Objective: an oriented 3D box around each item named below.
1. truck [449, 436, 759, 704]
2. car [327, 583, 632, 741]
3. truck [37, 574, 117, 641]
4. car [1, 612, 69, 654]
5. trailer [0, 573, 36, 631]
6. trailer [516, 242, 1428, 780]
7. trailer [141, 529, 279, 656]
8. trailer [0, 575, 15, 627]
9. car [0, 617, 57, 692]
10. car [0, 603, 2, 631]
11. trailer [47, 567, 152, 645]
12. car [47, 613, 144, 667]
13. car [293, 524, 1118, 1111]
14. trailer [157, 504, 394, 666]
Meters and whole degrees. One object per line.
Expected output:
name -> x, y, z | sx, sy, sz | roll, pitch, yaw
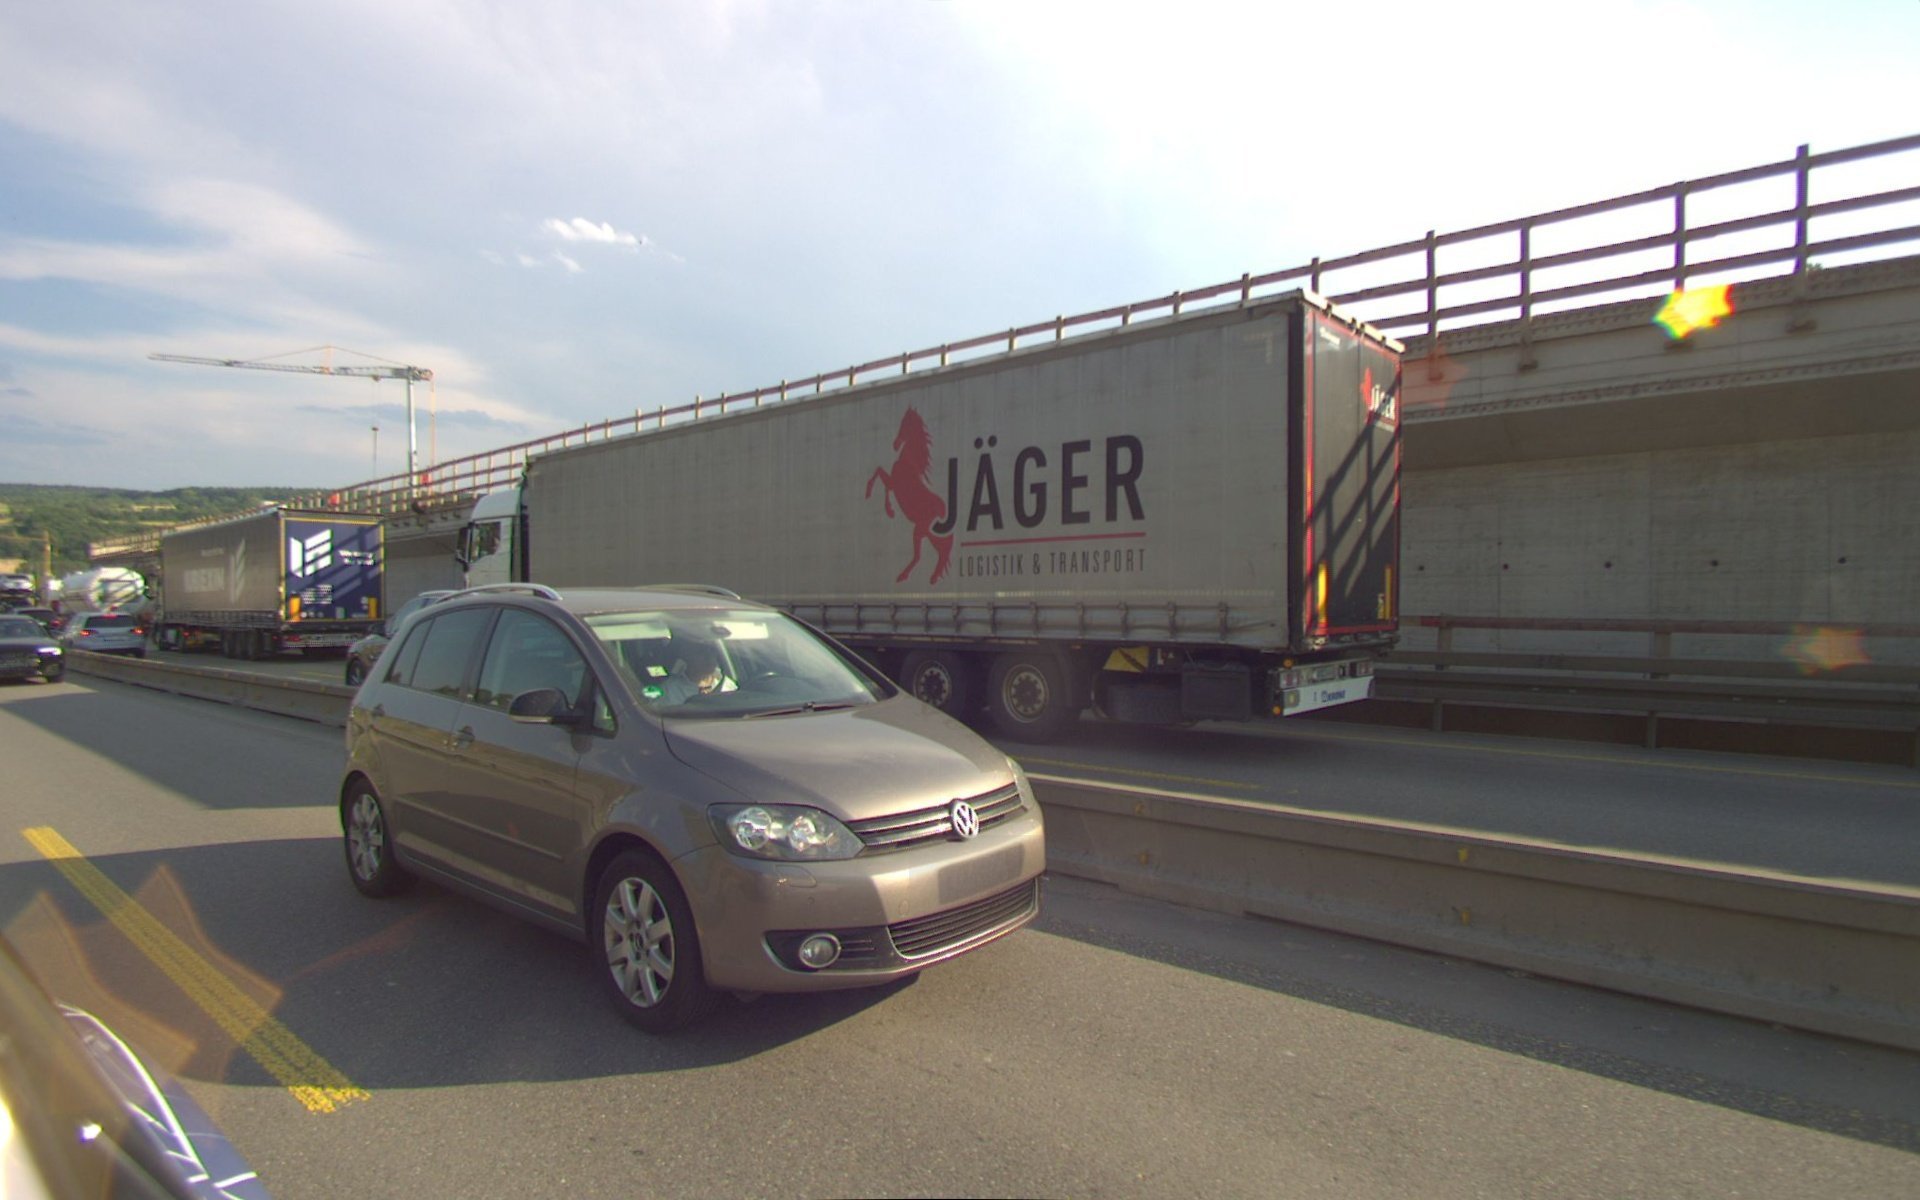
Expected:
truck -> -6.528, -0.472, 18.225 | 5.655, 4.038, 2.831 | 0, 1, 41
car -> -6.680, 0.687, 13.767 | 5.136, 1.785, 1.804 | 0, 1, 40
truck -> -47.835, 0.352, 54.802 | 5.528, 3.435, 2.522 | 0, 1, 41
car -> -39.526, 1.363, 43.208 | 4.686, 1.657, 1.624 | 0, 1, 41
trailer -> -72.188, 0.107, 75.787 | 15.758, 4.061, 2.742 | 0, 1, 42
trailer -> -1.383, -0.732, 13.670 | 13.762, 4.272, 2.883 | 0, 1, 41
trailer -> -26.926, -0.199, 36.232 | 5.973, 4.173, 2.736 | -2, 0, 41
trailer -> -77.747, 0.094, 80.768 | 7.205, 4.061, 2.742 | 0, 1, 42
car -> -20.641, 1.102, 21.368 | 4.347, 1.430, 1.849 | 0, 0, 41
car -> -56.932, 1.009, 58.613 | 4.294, 1.569, 1.707 | -1, 0, 41
trailer -> -43.308, 0.254, 50.774 | 10.678, 3.553, 2.530 | 0, 1, 42
car -> -26.791, 1.173, 31.312 | 4.594, 1.470, 1.624 | 0, 1, 41
car -> -1.516, 0.675, 4.821 | 4.269, 1.601, 1.663 | -2, -3, 41
trailer -> -21.918, -0.255, 31.774 | 14.019, 4.173, 2.736 | -2, 0, 42
